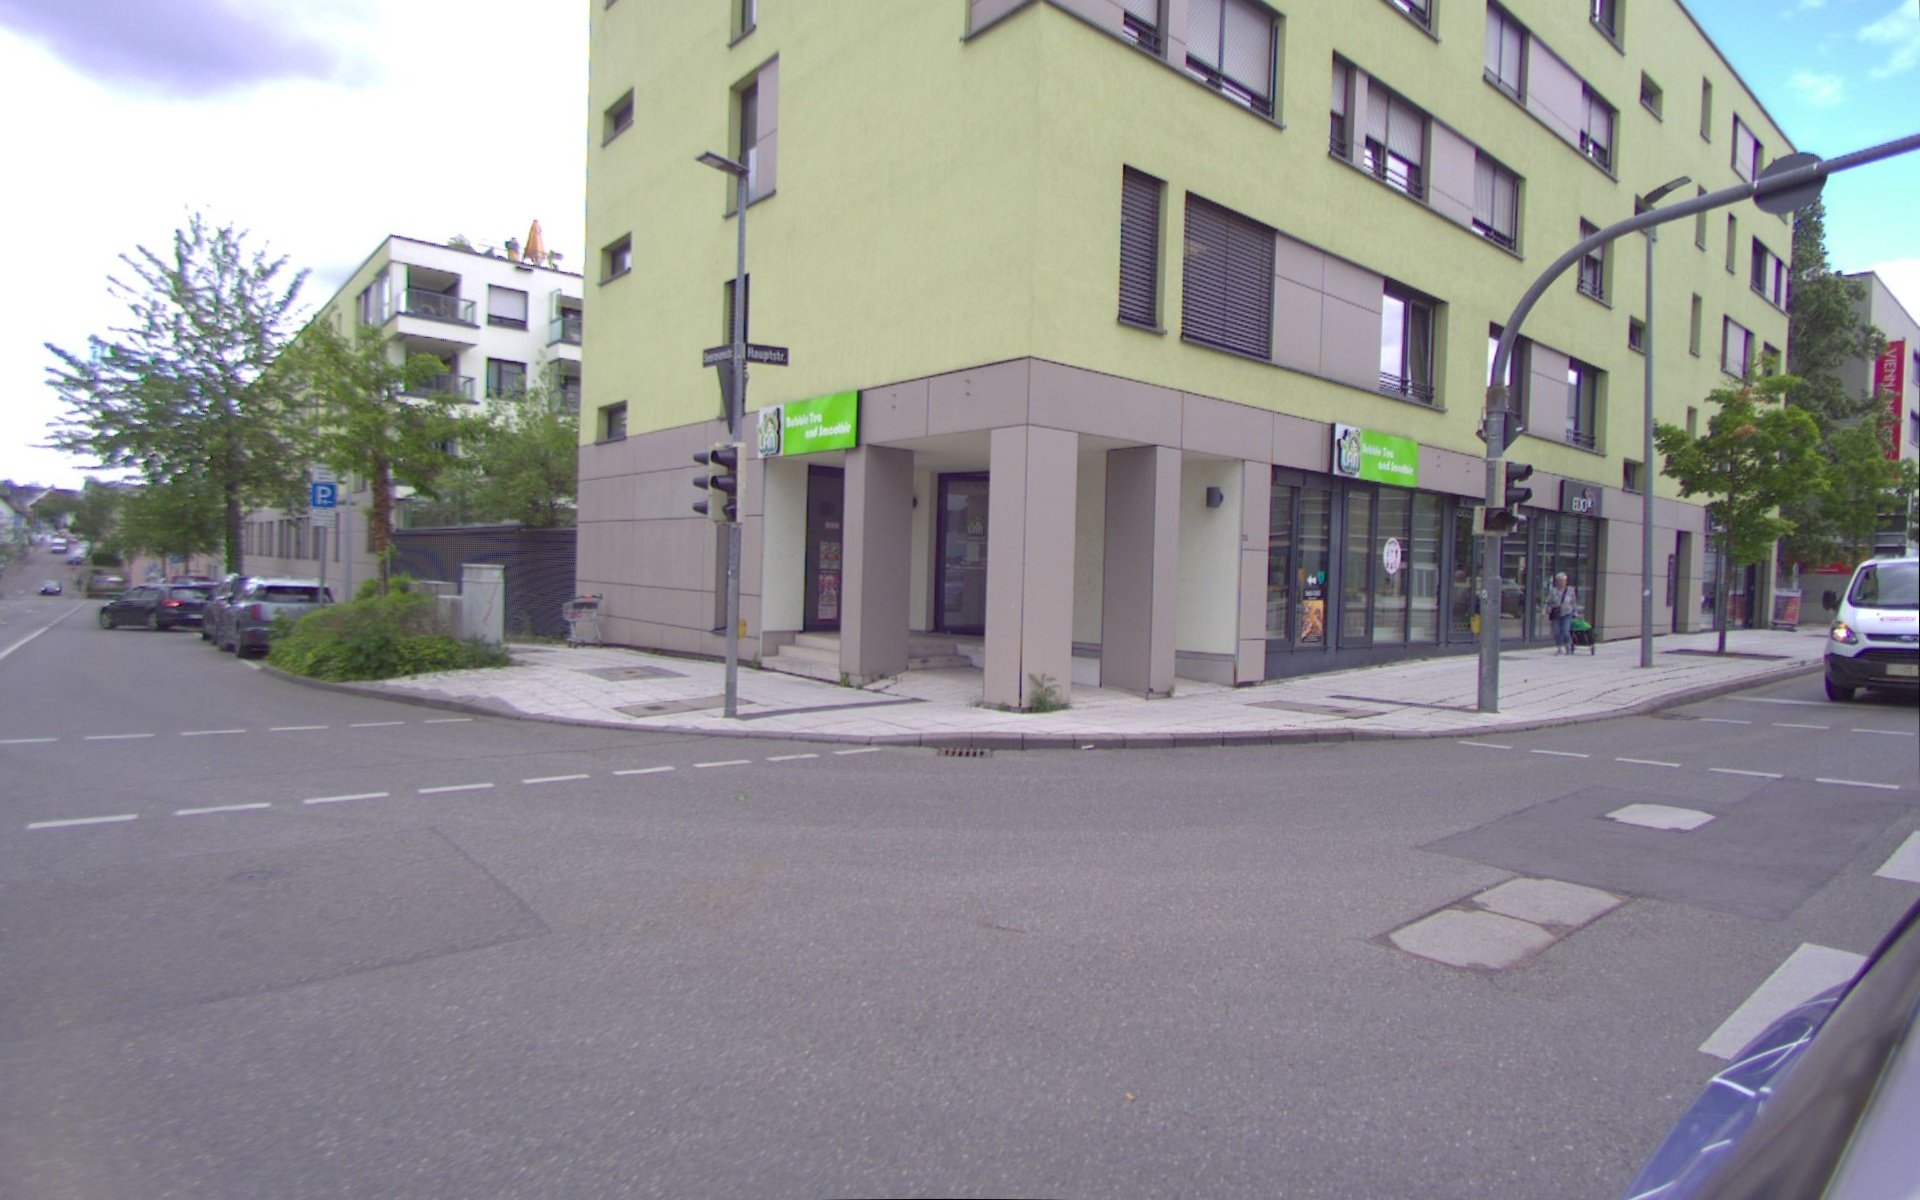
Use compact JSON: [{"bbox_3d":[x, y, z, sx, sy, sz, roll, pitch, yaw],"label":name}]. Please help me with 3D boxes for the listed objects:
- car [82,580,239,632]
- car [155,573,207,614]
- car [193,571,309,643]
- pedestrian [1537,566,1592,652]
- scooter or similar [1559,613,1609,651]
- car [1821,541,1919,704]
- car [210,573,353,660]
[{"bbox_3d":[-24.745,0.156,31.318,4.373,1.514,1.955,0,0,23],"label":"car"},{"bbox_3d":[-39.903,-0.317,51.827,1.935,2.003,4.418,0,0,-40],"label":"car"},{"bbox_3d":[-18.077,0.144,25.717,1.936,1.681,4.416,0,0,-42],"label":"car"},{"bbox_3d":[11.798,0.158,19.761,0.592,1.613,0.697,1,3,-40],"label":"pedestrian"},{"bbox_3d":[12.409,0.623,20.130,0.809,0.681,0.593,0,3,-40],"label":"scooter or similar"},{"bbox_3d":[13.912,0.284,13.951,4.906,2.013,2.001,0,0,-36],"label":"car"},{"bbox_3d":[-14.387,0.290,21.357,1.936,1.636,4.416,0,0,-42],"label":"car"}]
